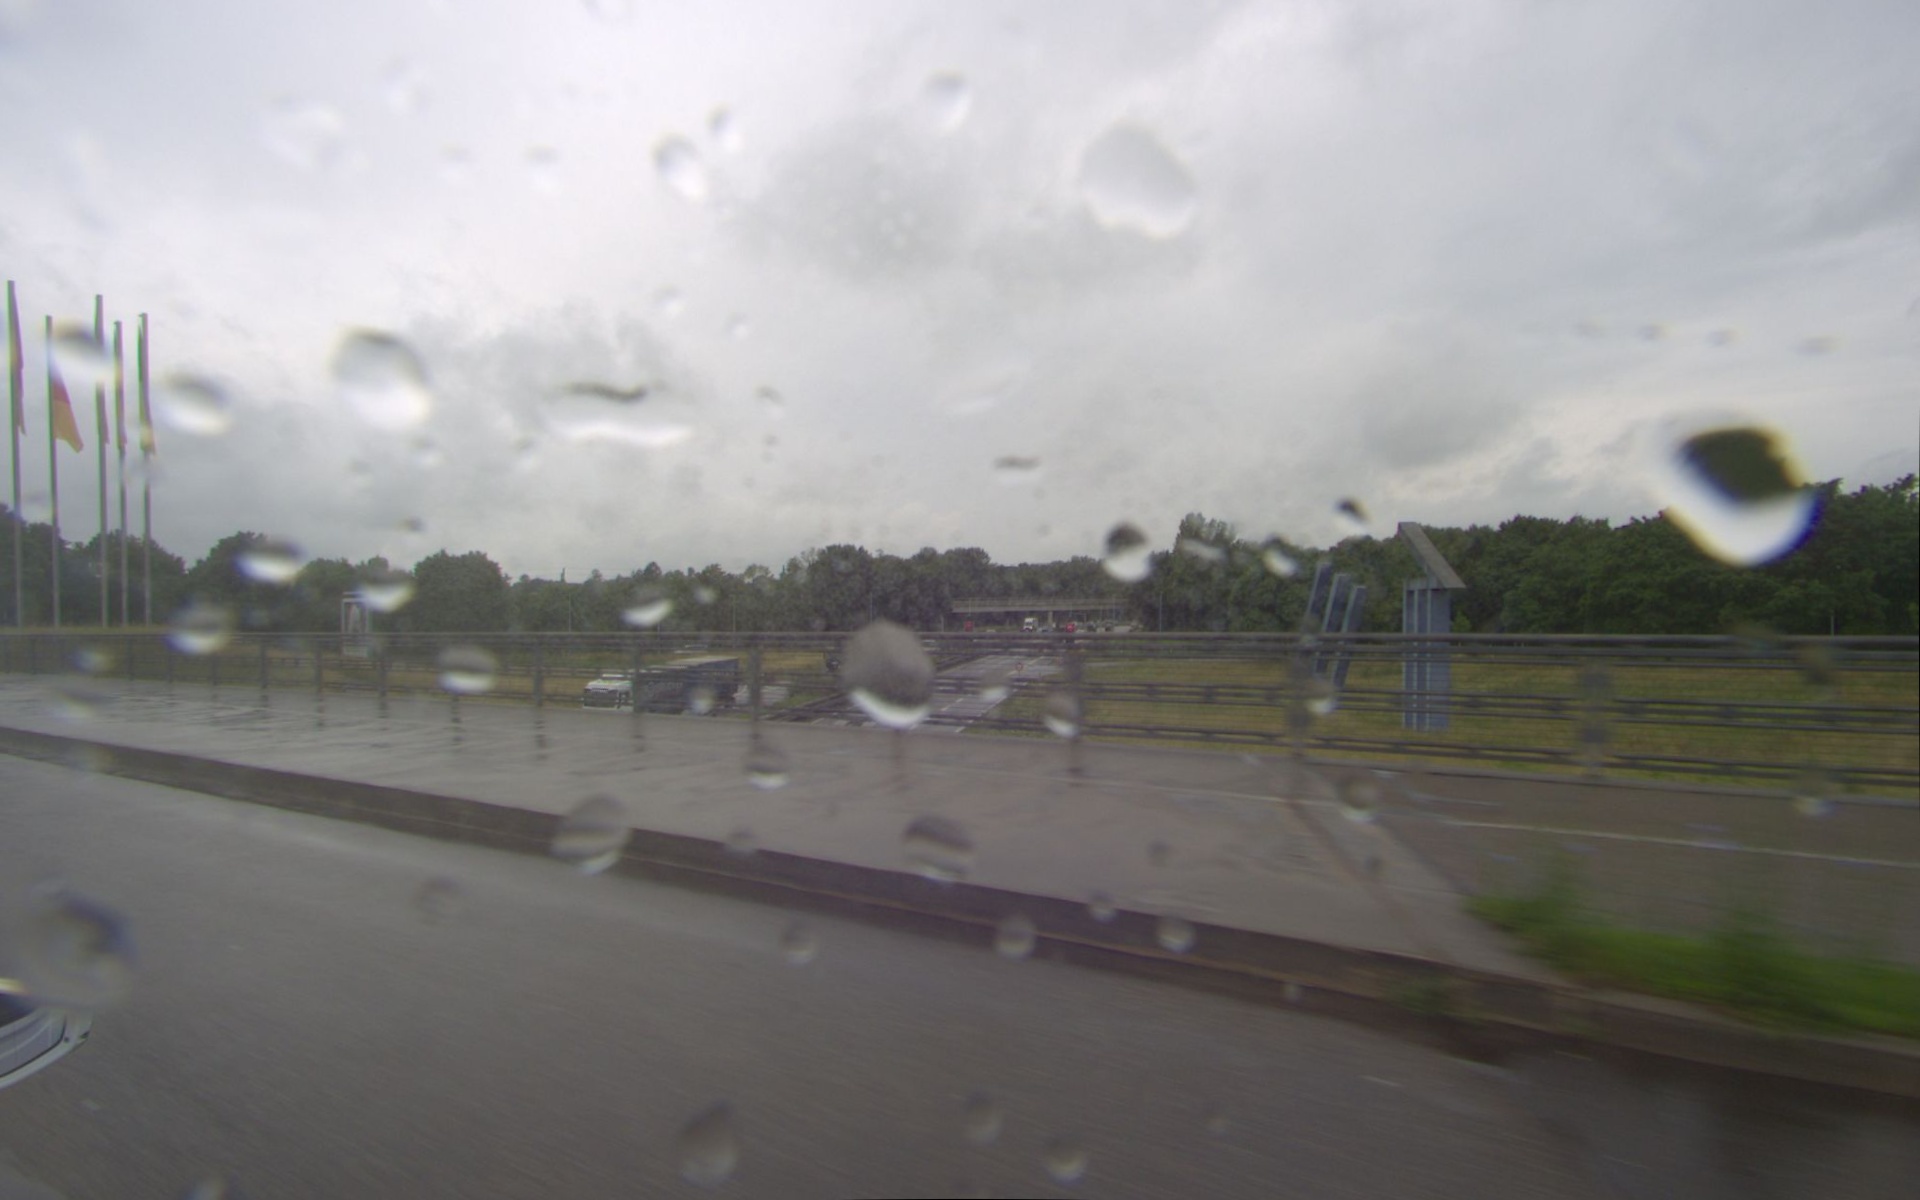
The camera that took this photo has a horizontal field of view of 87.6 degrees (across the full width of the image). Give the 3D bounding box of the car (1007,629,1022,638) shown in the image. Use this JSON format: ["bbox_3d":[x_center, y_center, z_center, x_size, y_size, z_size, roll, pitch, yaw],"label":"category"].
[{"bbox_3d":[10.817,6.596,198.858,1.964,1.809,3.995,0,-1,18],"label":"car"}]

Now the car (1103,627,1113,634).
[{"bbox_3d":[35.031,7.223,236.743,1.963,1.613,3.997,0,-1,15],"label":"car"}]

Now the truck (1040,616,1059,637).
[{"bbox_3d":[20.385,5.940,227.914,2.584,4.594,10.504,-1,-1,15],"label":"truck"}]

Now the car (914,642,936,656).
[{"bbox_3d":[-5.050,7.118,145.608,1.964,1.976,3.995,0,-1,18],"label":"car"}]

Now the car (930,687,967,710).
[{"bbox_3d":[-0.932,7.992,81.458,1.963,1.613,3.997,0,-1,15],"label":"car"}]

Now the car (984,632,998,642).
[{"bbox_3d":[5.797,6.955,189.478,1.962,1.720,4.743,-1,-1,10],"label":"car"}]

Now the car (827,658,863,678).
[{"bbox_3d":[-12.456,7.337,108.775,2.255,1.990,5.617,0,-1,12],"label":"car"}]

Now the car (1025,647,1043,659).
[{"bbox_3d":[10.628,7.603,143.657,1.963,1.613,3.997,0,-1,15],"label":"car"}]

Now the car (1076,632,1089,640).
[{"bbox_3d":[23.778,7.042,194.984,1.963,1.613,3.997,0,-1,15],"label":"car"}]

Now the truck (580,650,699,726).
[{"bbox_3d":[-20.922,5.632,66.319,2.520,4.357,10.941,0,-1,11],"label":"truck"}]

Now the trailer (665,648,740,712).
[{"bbox_3d":[-19.261,5.907,75.338,2.520,4.357,7.370,0,-1,11],"label":"trailer"}]
